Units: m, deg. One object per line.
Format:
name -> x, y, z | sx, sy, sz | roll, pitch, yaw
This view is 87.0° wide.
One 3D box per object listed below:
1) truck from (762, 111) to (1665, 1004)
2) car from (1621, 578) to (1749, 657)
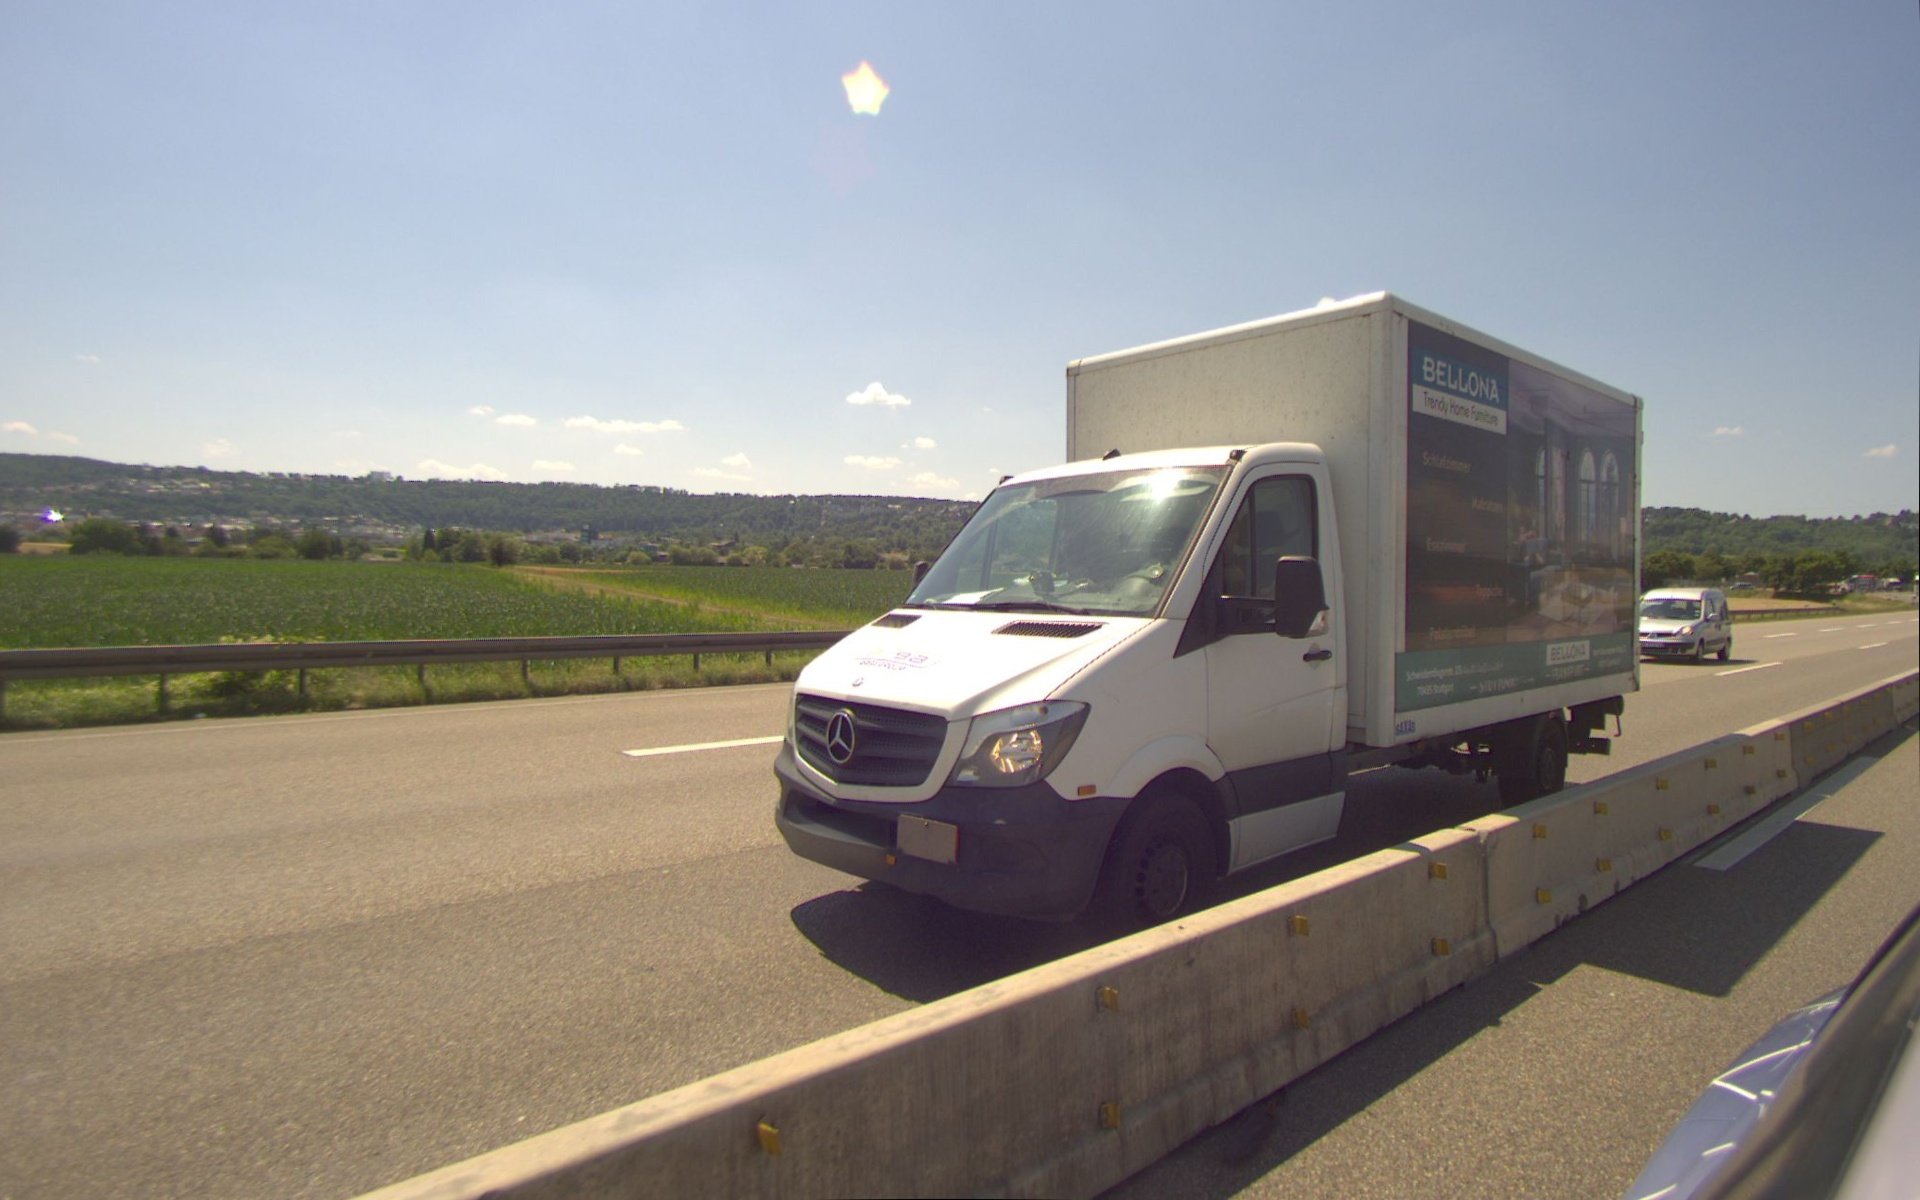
truck -> 2.228, -0.148, 6.587 | 6.632, 3.106, 2.325 | 0, 0, -41
car -> 17.549, 0.400, 24.428 | 3.902, 1.759, 1.630 | 0, 0, -40
